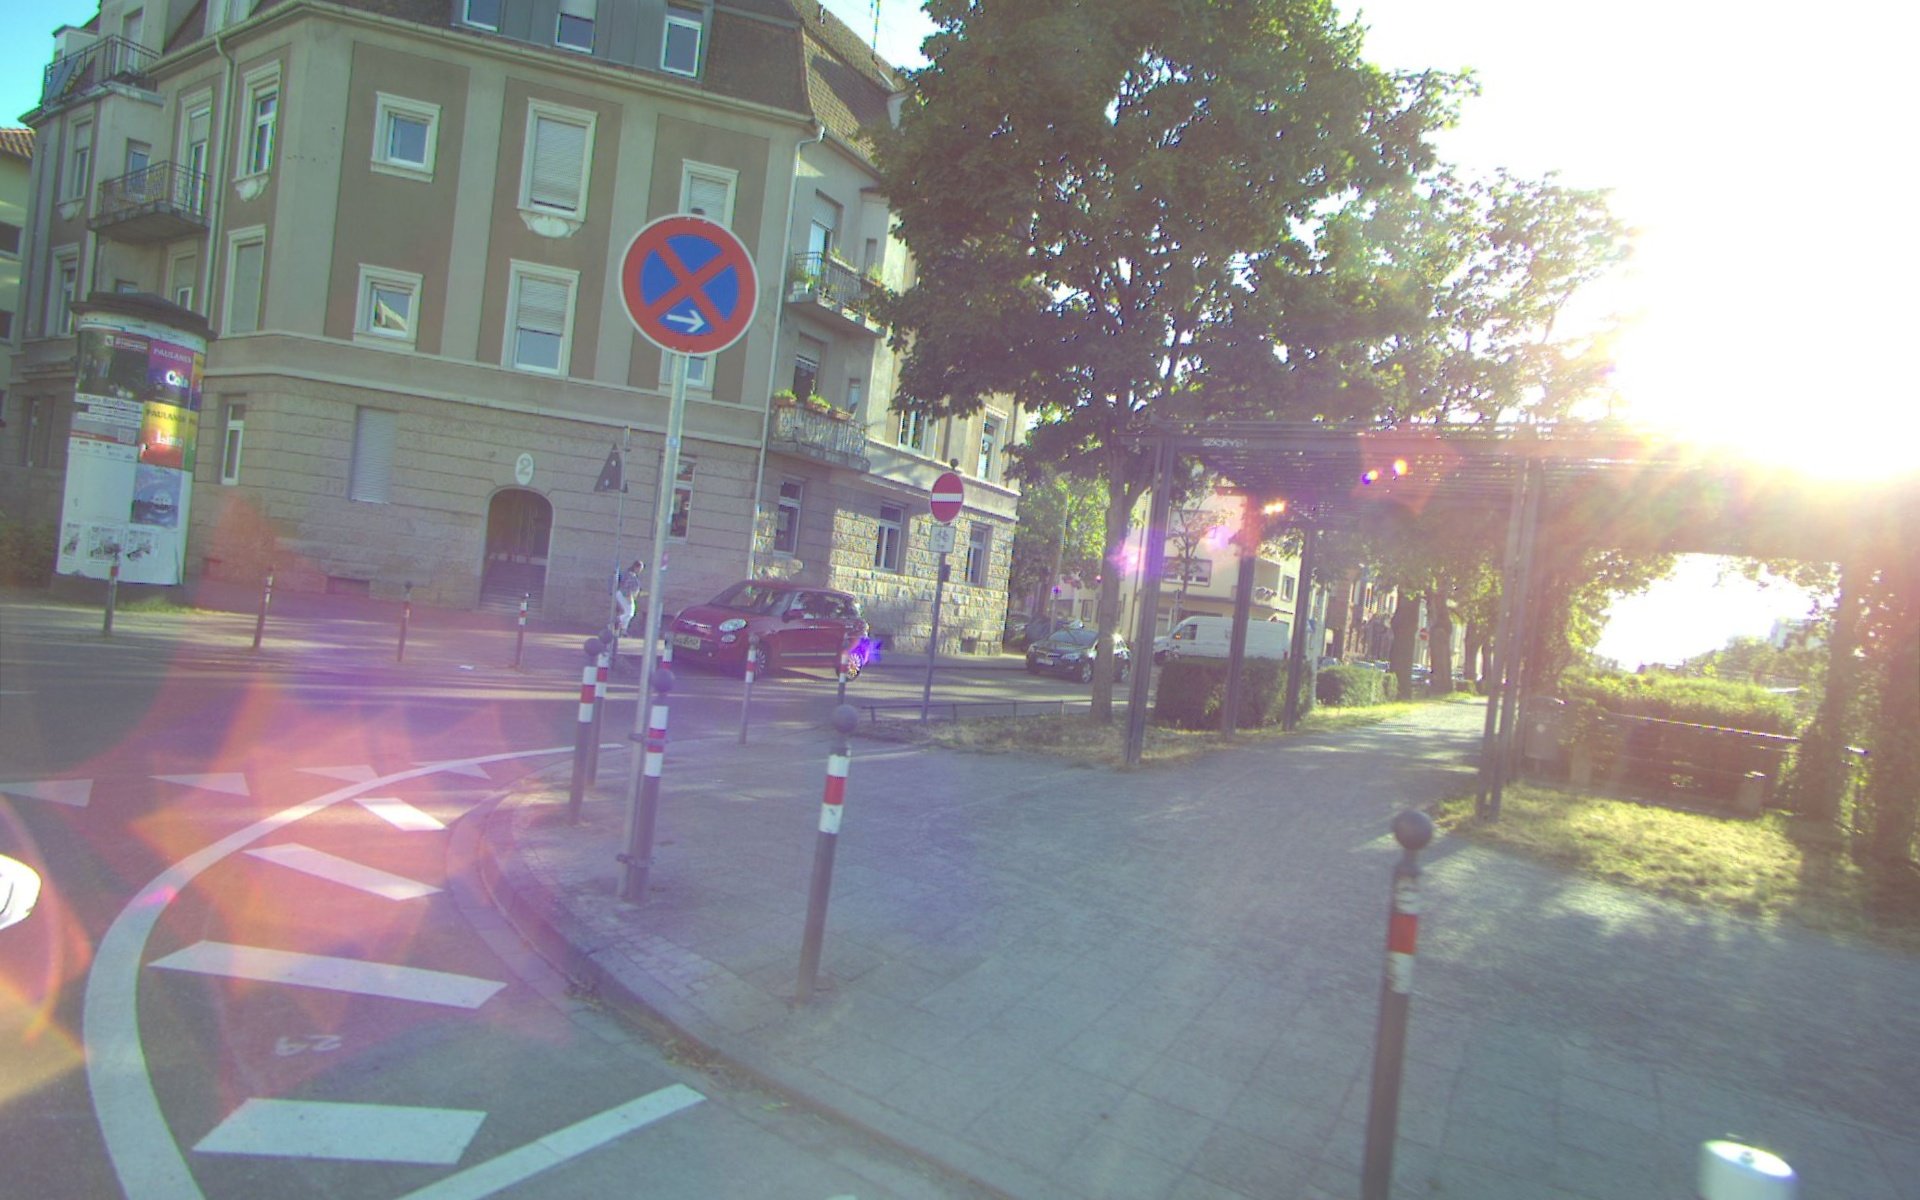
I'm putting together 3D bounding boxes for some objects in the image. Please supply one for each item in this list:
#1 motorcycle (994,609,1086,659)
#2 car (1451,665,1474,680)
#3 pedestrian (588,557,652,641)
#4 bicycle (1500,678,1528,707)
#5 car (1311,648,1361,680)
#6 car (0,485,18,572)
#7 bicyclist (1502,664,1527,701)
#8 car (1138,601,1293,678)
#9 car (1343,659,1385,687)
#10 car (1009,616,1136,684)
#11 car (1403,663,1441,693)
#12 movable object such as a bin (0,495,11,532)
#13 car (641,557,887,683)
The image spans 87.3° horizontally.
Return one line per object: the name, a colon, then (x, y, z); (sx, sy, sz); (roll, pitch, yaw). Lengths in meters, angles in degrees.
motorcycle: (2.954, 1.271, 37.429); (3.171, 1.505, 0.853); (6, -1, 21)
car: (61.999, 8.892, 124.083); (1.802, 1.535, 3.743); (7, -1, 36)
pedestrian: (-6.821, -0.021, 20.186); (0.816, 1.564, 0.733); (6, 2, -44)
bicycle: (26.780, 4.462, 48.655); (0.872, 1.236, 3.106); (7, 0, 26)
car: (21.422, 3.645, 57.220); (1.800, 1.535, 3.746); (7, -1, 32)
car: (-18.694, -1.476, 16.700); (1.831, 1.524, 4.053); (7, 0, 31)
bicyclist: (26.875, 3.991, 48.735); (0.846, 1.668, 0.863); (7, 1, 26)
car: (12.073, 1.864, 47.953); (6.563, 2.778, 2.318); (7, 0, 3)
car: (26.701, 4.839, 66.479); (1.800, 1.535, 3.746); (7, -1, 32)
car: (3.271, 1.456, 28.547); (1.782, 1.552, 4.077); (8, 0, 34)
car: (30.150, 5.088, 65.612); (1.752, 1.660, 3.734); (7, 0, 31)
movable object such as a bin: (-29.402, -2.653, 30.690); (0.524, 1.099, 0.456); (6, 0, 33)
car: (-3.353, 0.431, 17.933); (1.782, 1.762, 4.077); (9, 1, 34)
